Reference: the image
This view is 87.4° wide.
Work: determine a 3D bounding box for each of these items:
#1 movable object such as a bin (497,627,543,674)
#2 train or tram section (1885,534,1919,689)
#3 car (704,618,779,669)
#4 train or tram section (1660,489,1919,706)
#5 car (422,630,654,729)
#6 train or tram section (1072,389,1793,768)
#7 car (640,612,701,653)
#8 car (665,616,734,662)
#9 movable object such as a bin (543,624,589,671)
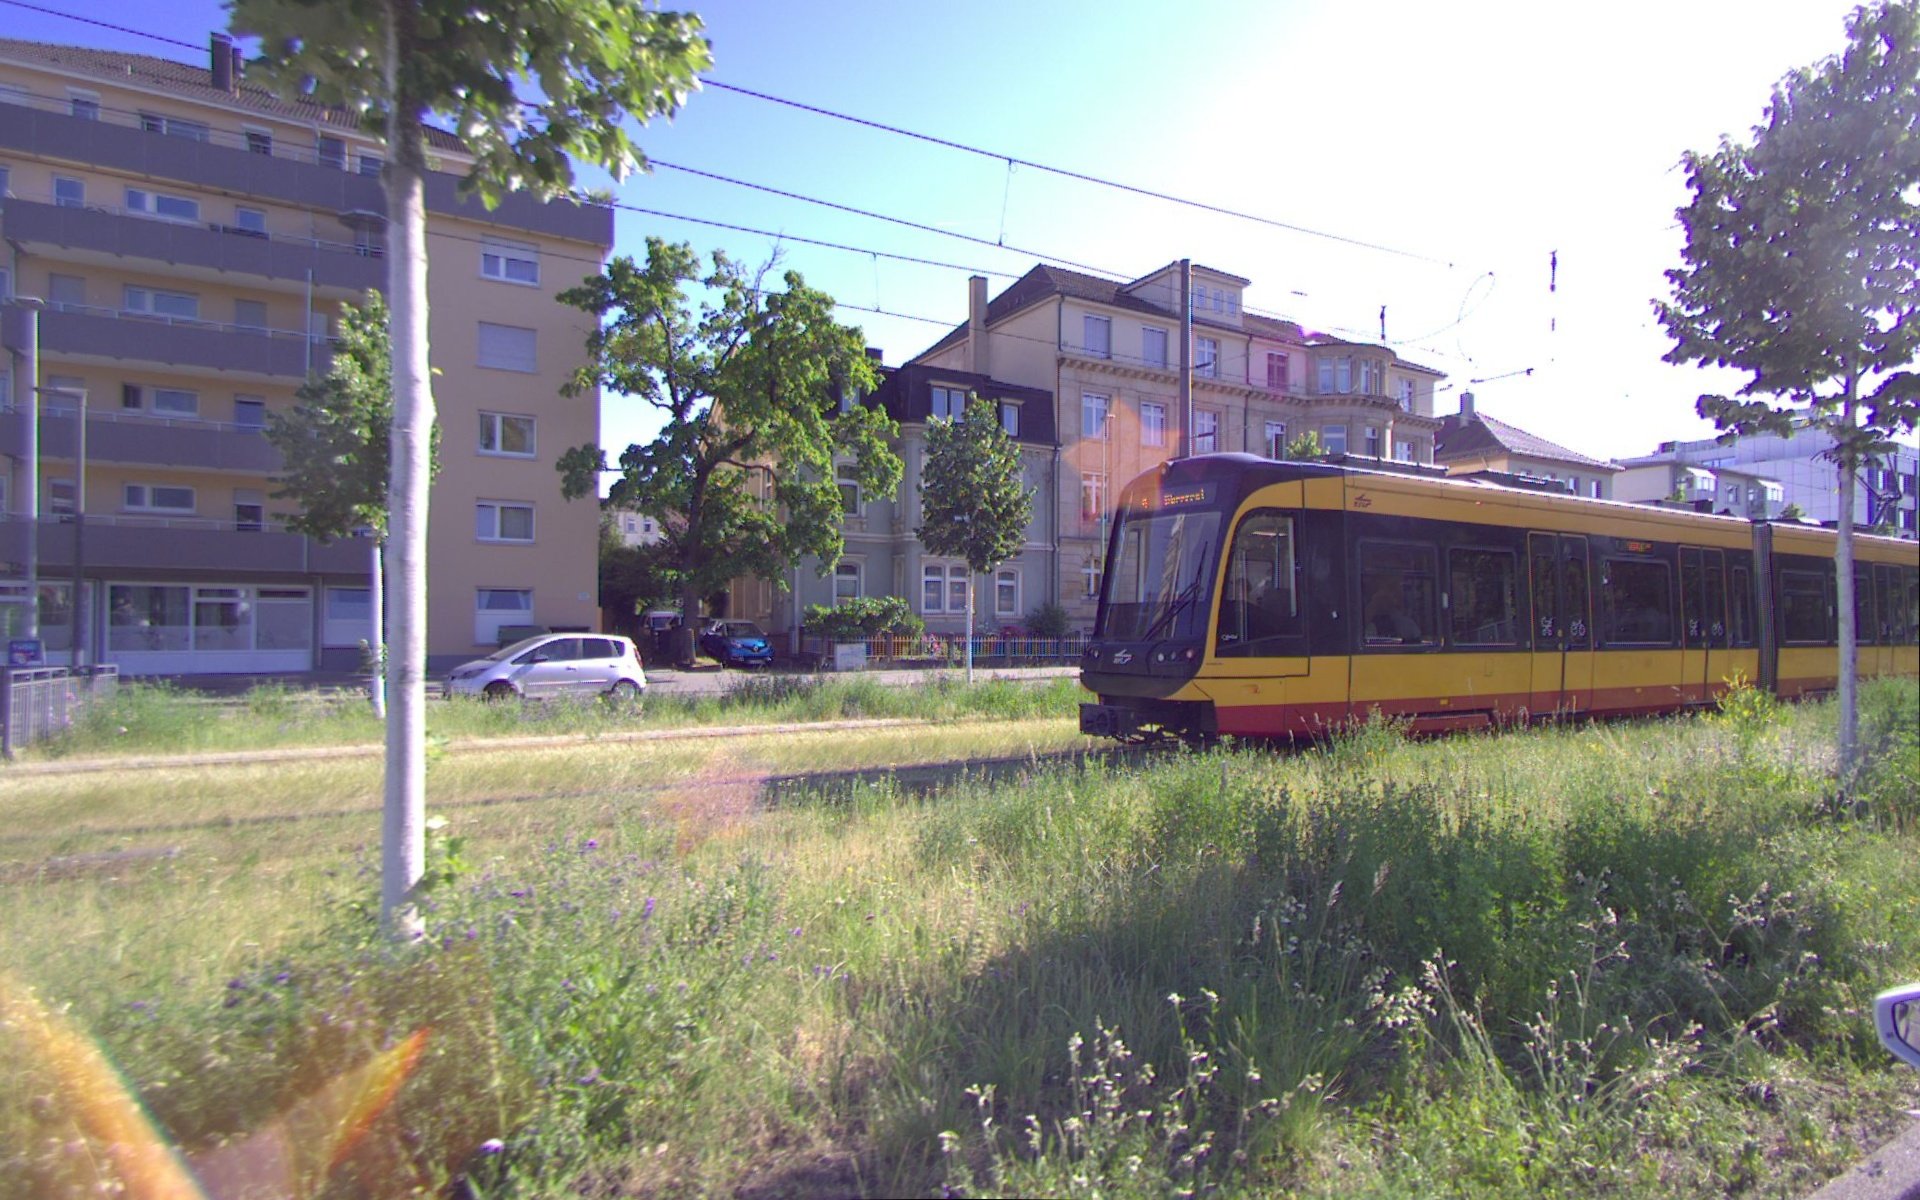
[{"bbox_3d":[-13.942,1.587,31.787,1.274,1.438,1.260,1,0,-26],"label":"movable object such as a bin"},{"bbox_3d":[28.205,0.389,26.737,11.546,3.718,1.984,1,0,-31],"label":"train or tram section"},{"bbox_3d":[-7.984,1.534,36.473,1.805,1.684,3.974,1,0,-26],"label":"car"},{"bbox_3d":[18.472,0.070,20.933,11.186,3.718,1.983,1,0,-31],"label":"train or tram section"},{"bbox_3d":[-8.543,1.516,20.481,3.969,1.773,1.913,1,-1,-41],"label":"car"},{"bbox_3d":[7.777,-0.077,14.387,13.991,3.718,1.983,1,0,-32],"label":"train or tram section"},{"bbox_3d":[-12.955,1.431,44.875,1.974,1.684,3.974,1,0,-26],"label":"car"},{"bbox_3d":[-10.549,1.547,40.496,1.974,1.684,3.974,1,0,-26],"label":"car"},{"bbox_3d":[-12.666,1.512,32.274,1.274,1.438,1.260,1,0,-26],"label":"movable object such as a bin"}]
